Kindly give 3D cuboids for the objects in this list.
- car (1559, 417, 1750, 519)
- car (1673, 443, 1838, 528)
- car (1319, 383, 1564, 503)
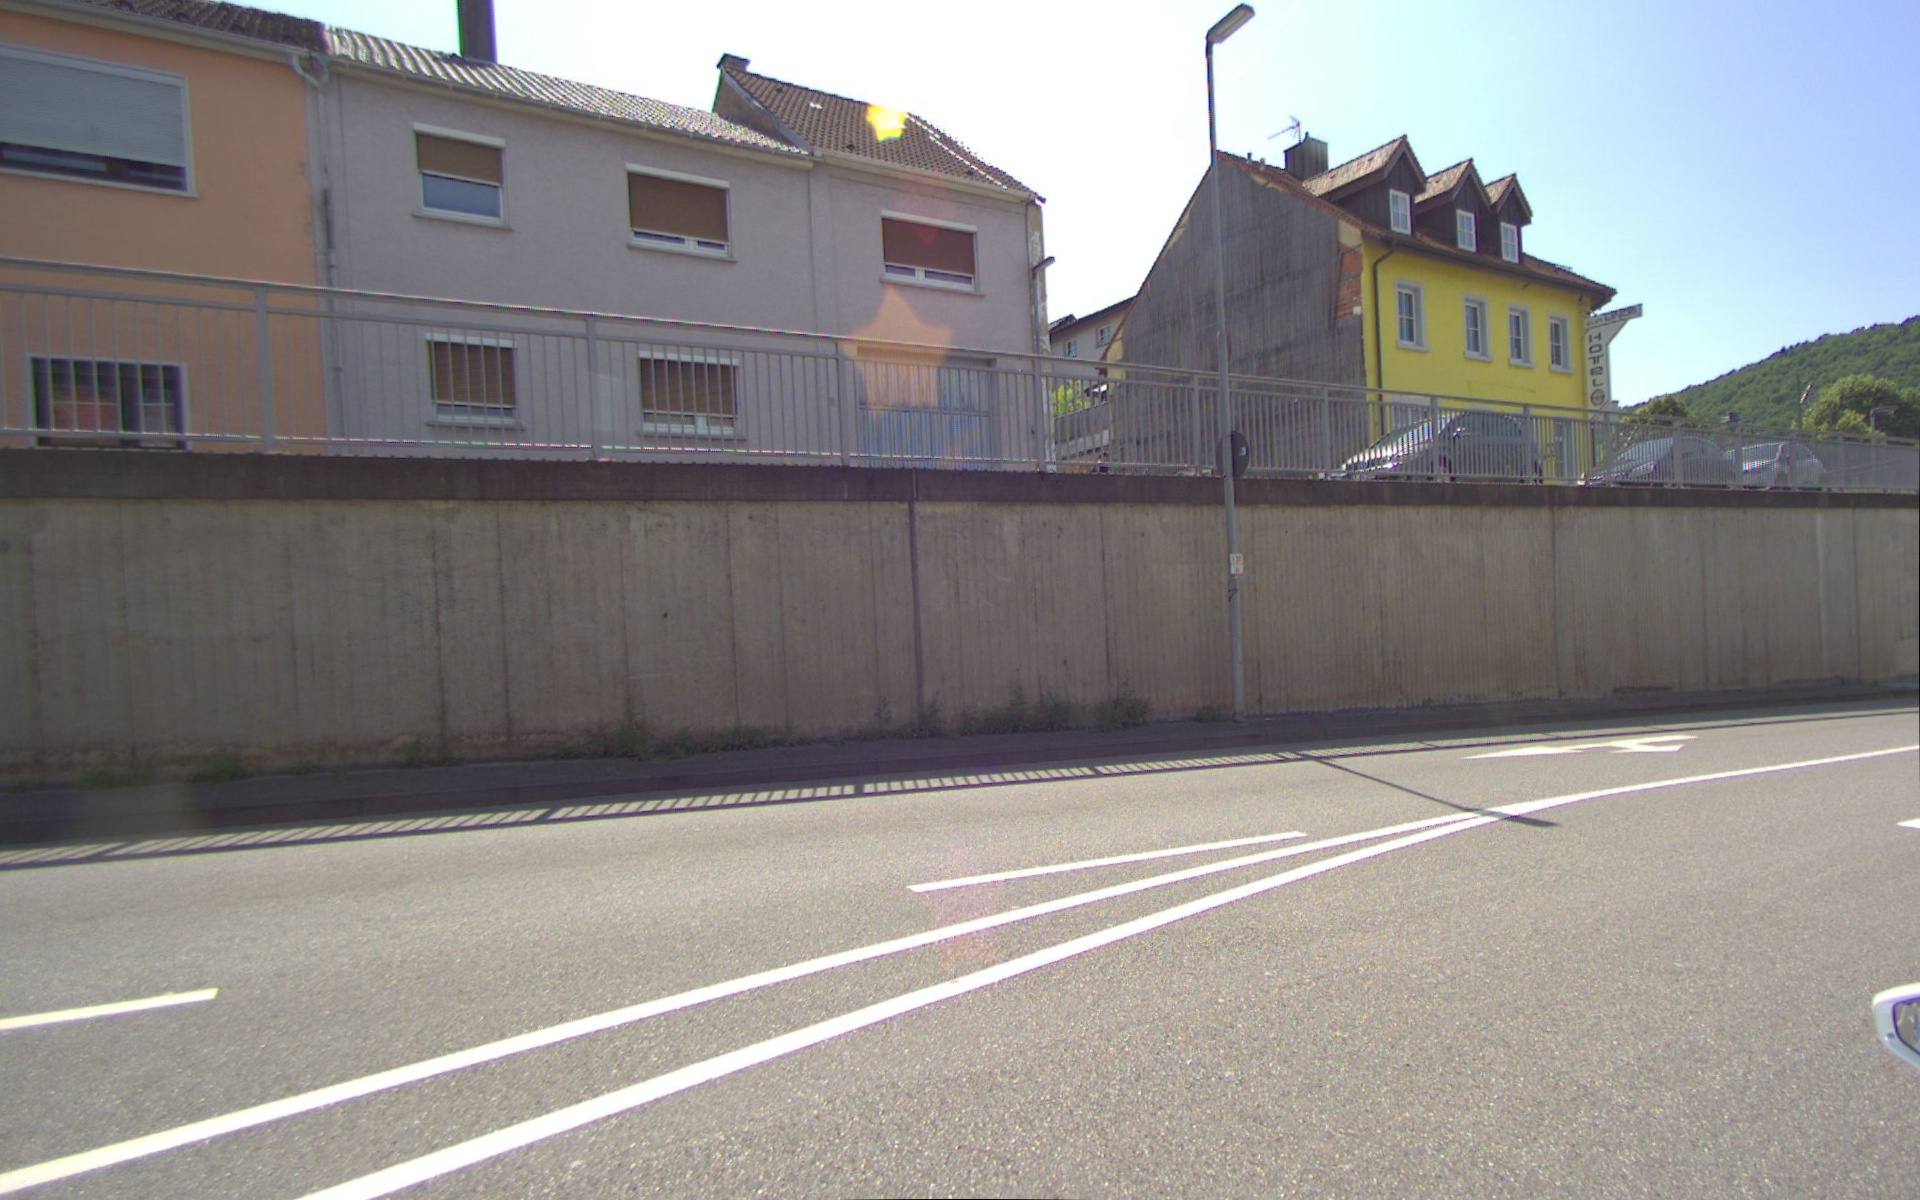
[{"bbox_3d":[14.699,-2.685,21.221,4.175,1.728,1.813,-2,0,-32],"label":"car"},{"bbox_3d":[19.192,-2.671,24.213,3.955,1.690,1.892,-2,0,-32],"label":"car"},{"bbox_3d":[8.378,-2.597,17.379,4.344,1.545,1.789,-2,0,-32],"label":"car"}]
